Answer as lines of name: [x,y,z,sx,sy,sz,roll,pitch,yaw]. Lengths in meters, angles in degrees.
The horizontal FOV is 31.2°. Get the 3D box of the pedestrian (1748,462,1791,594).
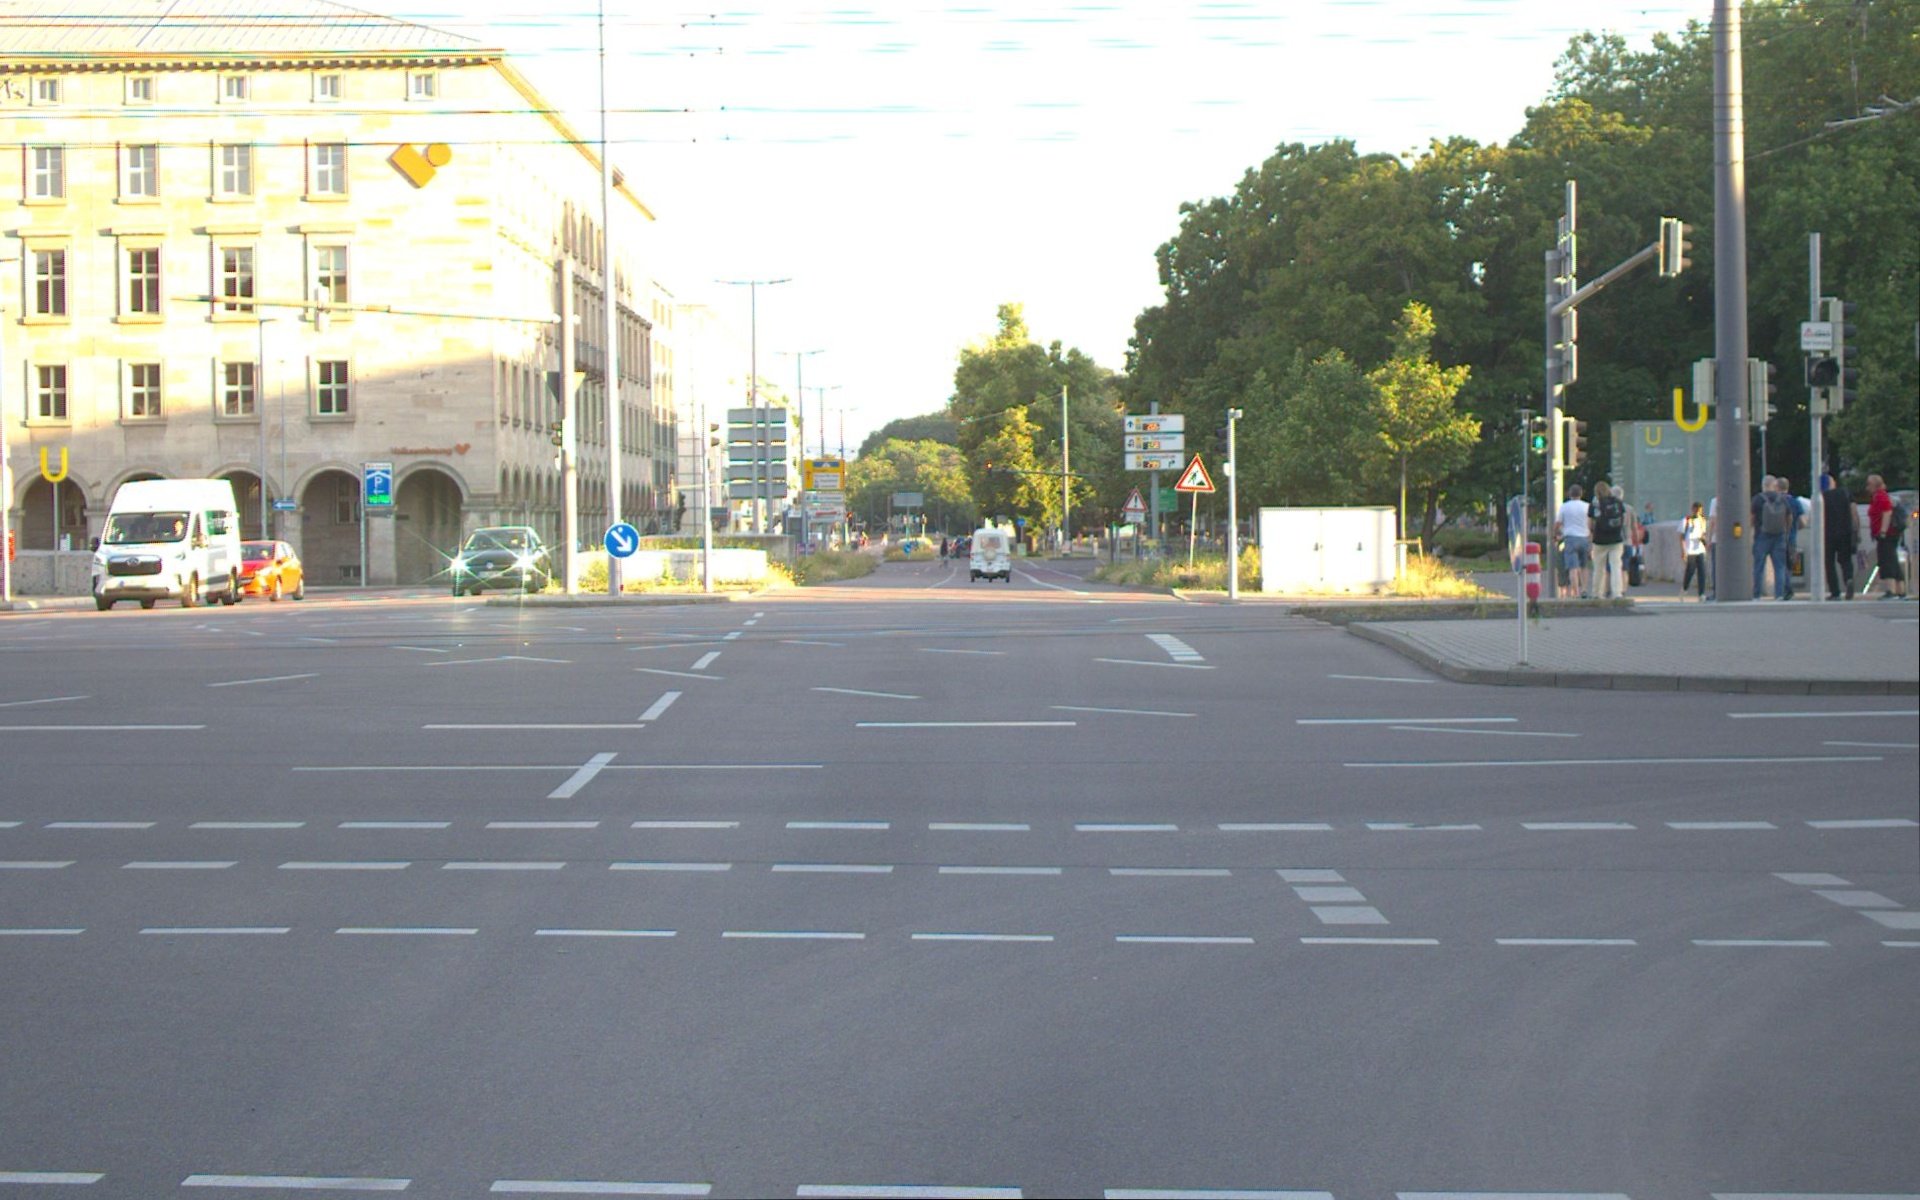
pedestrian: [11.076,-0.990,47.037,0.572,1.785,0.638,0,2,14]

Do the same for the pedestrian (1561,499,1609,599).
pedestrian: [11.002,-0.901,60.487,0.680,1.751,0.901,0,2,20]

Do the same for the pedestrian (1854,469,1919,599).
pedestrian: [12.527,-0.896,46.425,0.845,1.728,0.705,0,2,12]

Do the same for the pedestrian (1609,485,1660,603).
pedestrian: [9.921,-0.823,50.547,0.711,1.719,0.668,0,2,13]

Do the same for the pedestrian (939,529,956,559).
pedestrian: [-0.716,-3.196,194.466,0.906,1.665,1.307,-1,2,-1]

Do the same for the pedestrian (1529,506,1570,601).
pedestrian: [10.416,-0.822,60.748,0.560,1.649,0.901,0,2,20]

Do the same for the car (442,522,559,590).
car: [-9.667,-0.950,72.575,1.823,1.337,4.000,-1,2,2]

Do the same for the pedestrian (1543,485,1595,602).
pedestrian: [8.998,-0.839,50.757,0.711,1.719,0.668,0,2,14]

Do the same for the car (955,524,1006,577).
car: [0.675,-1.656,113.284,1.483,1.690,2.974,-1,2,-3]

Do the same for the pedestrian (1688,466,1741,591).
pedestrian: [10.527,-0.997,47.933,0.711,1.719,0.914,0,2,13]

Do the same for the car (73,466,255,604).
car: [-16.696,-1.398,72.480,2.279,2.766,6.084,-1,2,1]

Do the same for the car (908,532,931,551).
car: [-2.776,-4.015,234.972,1.369,1.230,3.046,-1,2,-4]

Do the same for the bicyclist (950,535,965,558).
bicyclist: [-0.162,-3.442,222.606,0.830,1.458,0.661,-1,2,-16]

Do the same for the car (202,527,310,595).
car: [-16.515,-0.932,80.806,1.738,1.482,4.001,-1,2,-1]

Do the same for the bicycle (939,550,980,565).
bicycle: [-0.063,-2.743,222.645,2.601,0.955,0.515,1,0,-16]

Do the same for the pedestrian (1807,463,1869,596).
pedestrian: [11.924,-0.964,46.694,0.805,1.785,0.800,0,2,14]

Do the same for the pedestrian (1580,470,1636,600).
pedestrian: [8.667,-0.876,45.940,0.711,1.719,0.914,0,2,12]

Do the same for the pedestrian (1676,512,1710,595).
pedestrian: [12.839,-0.815,60.228,0.572,1.433,0.638,0,2,11]

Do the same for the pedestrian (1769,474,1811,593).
pedestrian: [11.682,-0.939,48.399,0.572,1.673,0.638,0,2,14]

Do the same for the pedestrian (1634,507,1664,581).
pedestrian: [17.428,-1.416,86.961,0.666,1.836,0.713,0,2,5]
